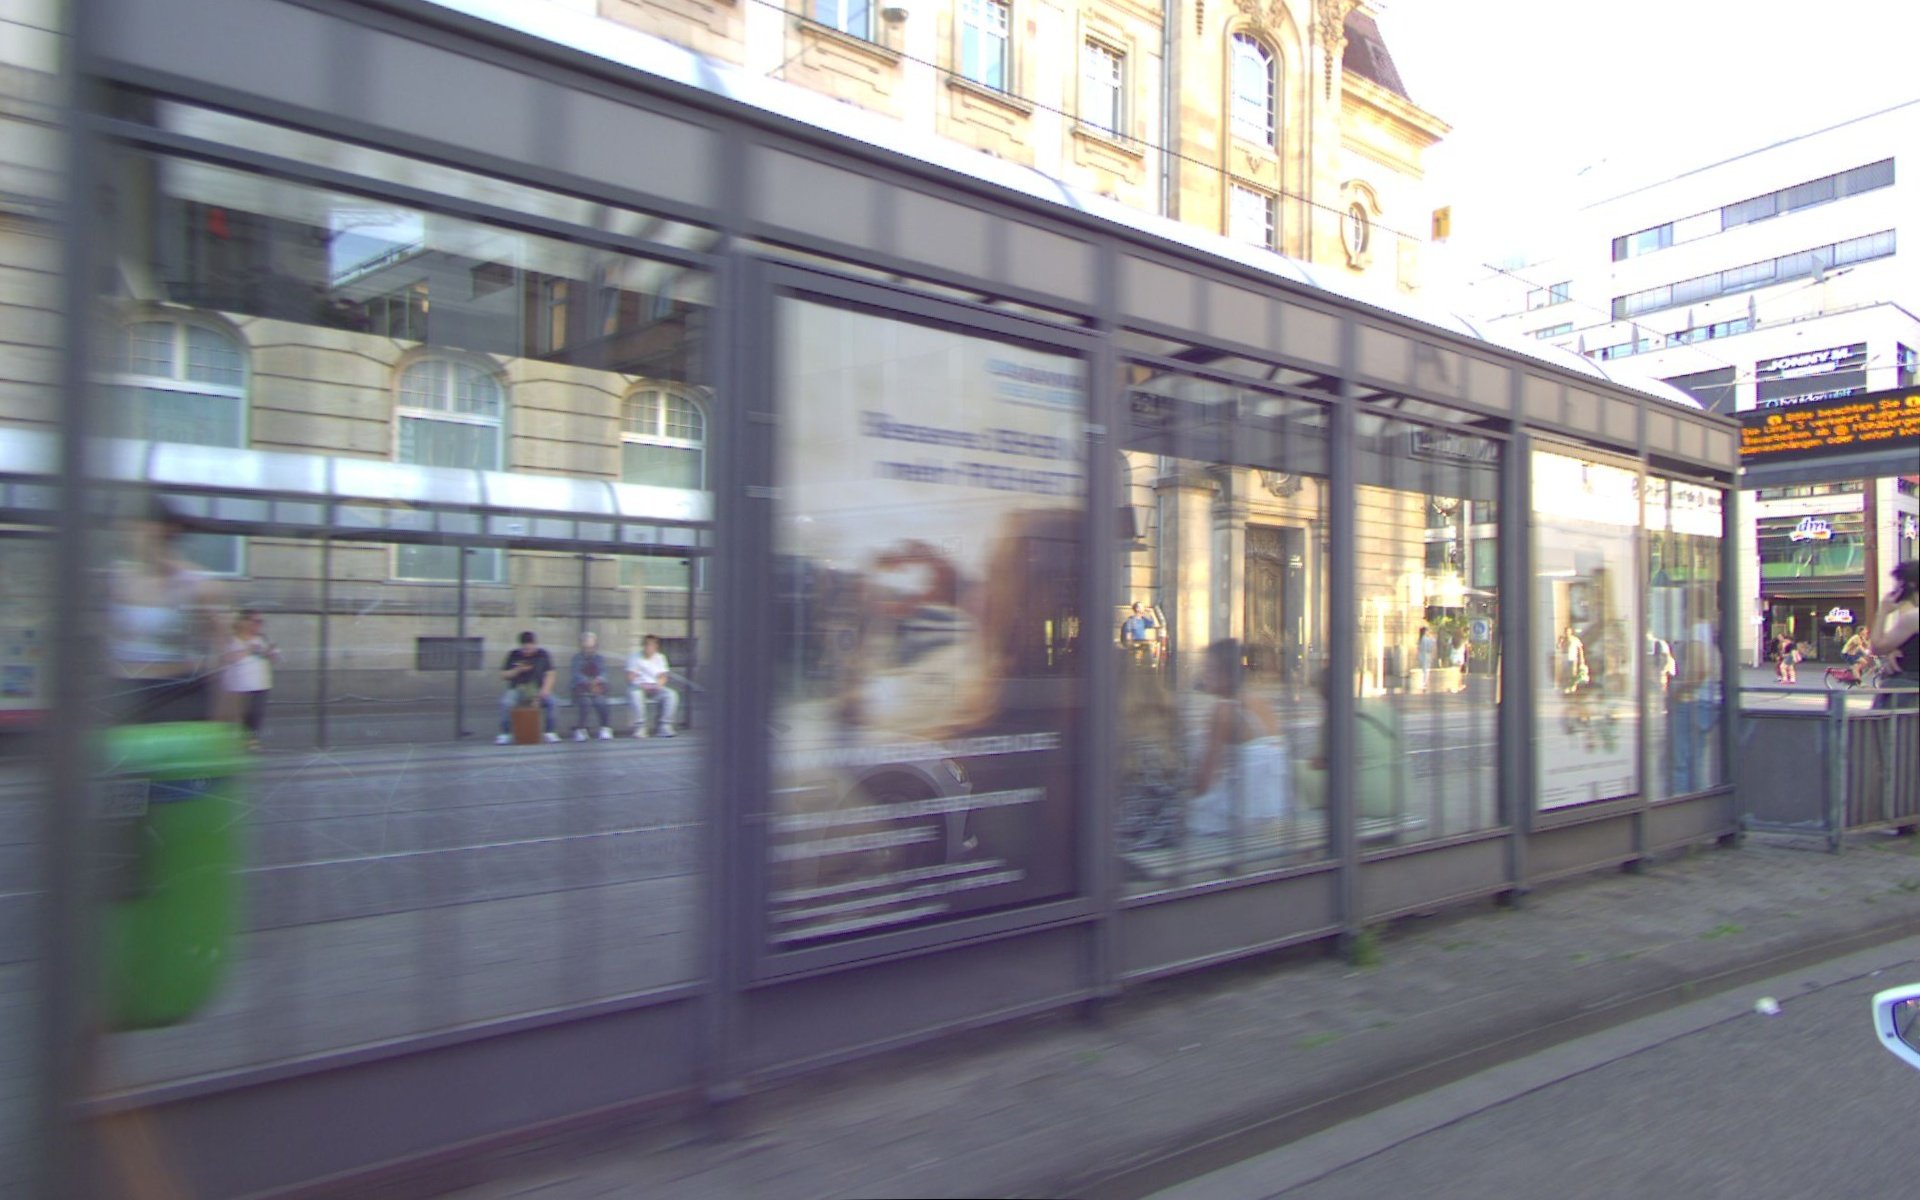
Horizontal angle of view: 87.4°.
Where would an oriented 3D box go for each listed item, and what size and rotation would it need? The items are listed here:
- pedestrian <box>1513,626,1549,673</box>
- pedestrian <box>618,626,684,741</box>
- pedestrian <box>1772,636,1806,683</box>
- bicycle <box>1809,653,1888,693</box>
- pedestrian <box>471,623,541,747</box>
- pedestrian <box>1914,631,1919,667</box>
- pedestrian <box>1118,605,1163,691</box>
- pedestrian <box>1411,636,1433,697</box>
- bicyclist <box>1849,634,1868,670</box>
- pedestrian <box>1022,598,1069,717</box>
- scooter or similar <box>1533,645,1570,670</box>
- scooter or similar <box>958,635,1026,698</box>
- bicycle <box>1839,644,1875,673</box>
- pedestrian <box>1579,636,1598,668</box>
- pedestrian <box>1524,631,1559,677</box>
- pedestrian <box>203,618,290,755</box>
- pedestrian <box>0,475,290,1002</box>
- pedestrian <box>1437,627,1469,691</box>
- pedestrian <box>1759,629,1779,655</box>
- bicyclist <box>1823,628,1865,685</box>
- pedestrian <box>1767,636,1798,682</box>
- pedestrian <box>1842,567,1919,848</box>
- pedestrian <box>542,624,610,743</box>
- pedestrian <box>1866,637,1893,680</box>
[{"bbox_3d":[20.399,1.769,35.868,0.794,1.650,0.829,1,-1,-29],"label":"pedestrian"},{"bbox_3d":[-3.746,0.995,12.182,0.630,1.345,0.515,2,-2,-30],"label":"pedestrian"},{"bbox_3d":[29.111,2.071,35.282,0.809,1.635,0.692,0,-2,31],"label":"pedestrian"},{"bbox_3d":[25.871,2.117,29.266,0.623,1.118,1.612,2,-3,-31],"label":"bicycle"},{"bbox_3d":[-5.121,0.939,11.324,0.630,1.345,0.515,2,-2,-30],"label":"pedestrian"},{"bbox_3d":[50.374,2.573,52.392,0.804,1.879,0.572,2,-1,-22],"label":"pedestrian"},{"bbox_3d":[3.847,1.017,21.422,0.699,1.800,0.616,1,-1,-37],"label":"pedestrian"},{"bbox_3d":[11.907,1.696,25.869,0.492,1.545,0.519,0,-1,26],"label":"pedestrian"},{"bbox_3d":[36.537,2.105,40.860,0.558,1.446,0.418,2,-1,-33],"label":"bicyclist"},{"bbox_3d":[1.331,0.884,15.681,0.464,1.800,0.555,1,-1,-38],"label":"pedestrian"},{"bbox_3d":[23.190,2.249,39.377,0.872,0.916,1.097,0,-2,5],"label":"scooter or similar"},{"bbox_3d":[0.637,1.323,20.067,1.279,1.197,0.484,2,-1,-32],"label":"scooter or similar"},{"bbox_3d":[36.544,2.378,40.913,2.000,1.112,0.569,2,-1,-33],"label":"bicycle"},{"bbox_3d":[24.318,2.007,38.854,0.477,1.259,0.410,1,-1,-20],"label":"pedestrian"},{"bbox_3d":[21.397,1.992,36.972,0.677,1.650,0.972,1,-1,-2],"label":"pedestrian"},{"bbox_3d":[-7.262,0.868,10.250,0.630,1.345,0.515,2,-2,-30],"label":"pedestrian"},{"bbox_3d":[-3.025,0.452,3.657,0.625,1.713,0.677,1,-1,8],"label":"pedestrian"},{"bbox_3d":[12.195,1.455,24.857,0.517,1.545,0.502,1,-1,-1],"label":"pedestrian"},{"bbox_3d":[47.820,2.476,59.359,0.779,1.546,0.572,2,-1,-22],"label":"pedestrian"},{"bbox_3d":[25.838,1.638,29.373,0.604,1.614,0.784,2,-2,-33],"label":"bicyclist"},{"bbox_3d":[29.449,2.102,35.961,0.759,1.635,0.666,0,-2,31],"label":"pedestrian"},{"bbox_3d":[6.280,0.695,6.734,0.589,1.790,0.409,2,-1,-36],"label":"pedestrian"},{"bbox_3d":[-4.496,0.965,11.756,0.630,1.345,0.515,2,-2,-30],"label":"pedestrian"},{"bbox_3d":[36.761,2.347,40.159,0.523,1.696,0.646,1,-1,-25],"label":"pedestrian"}]
